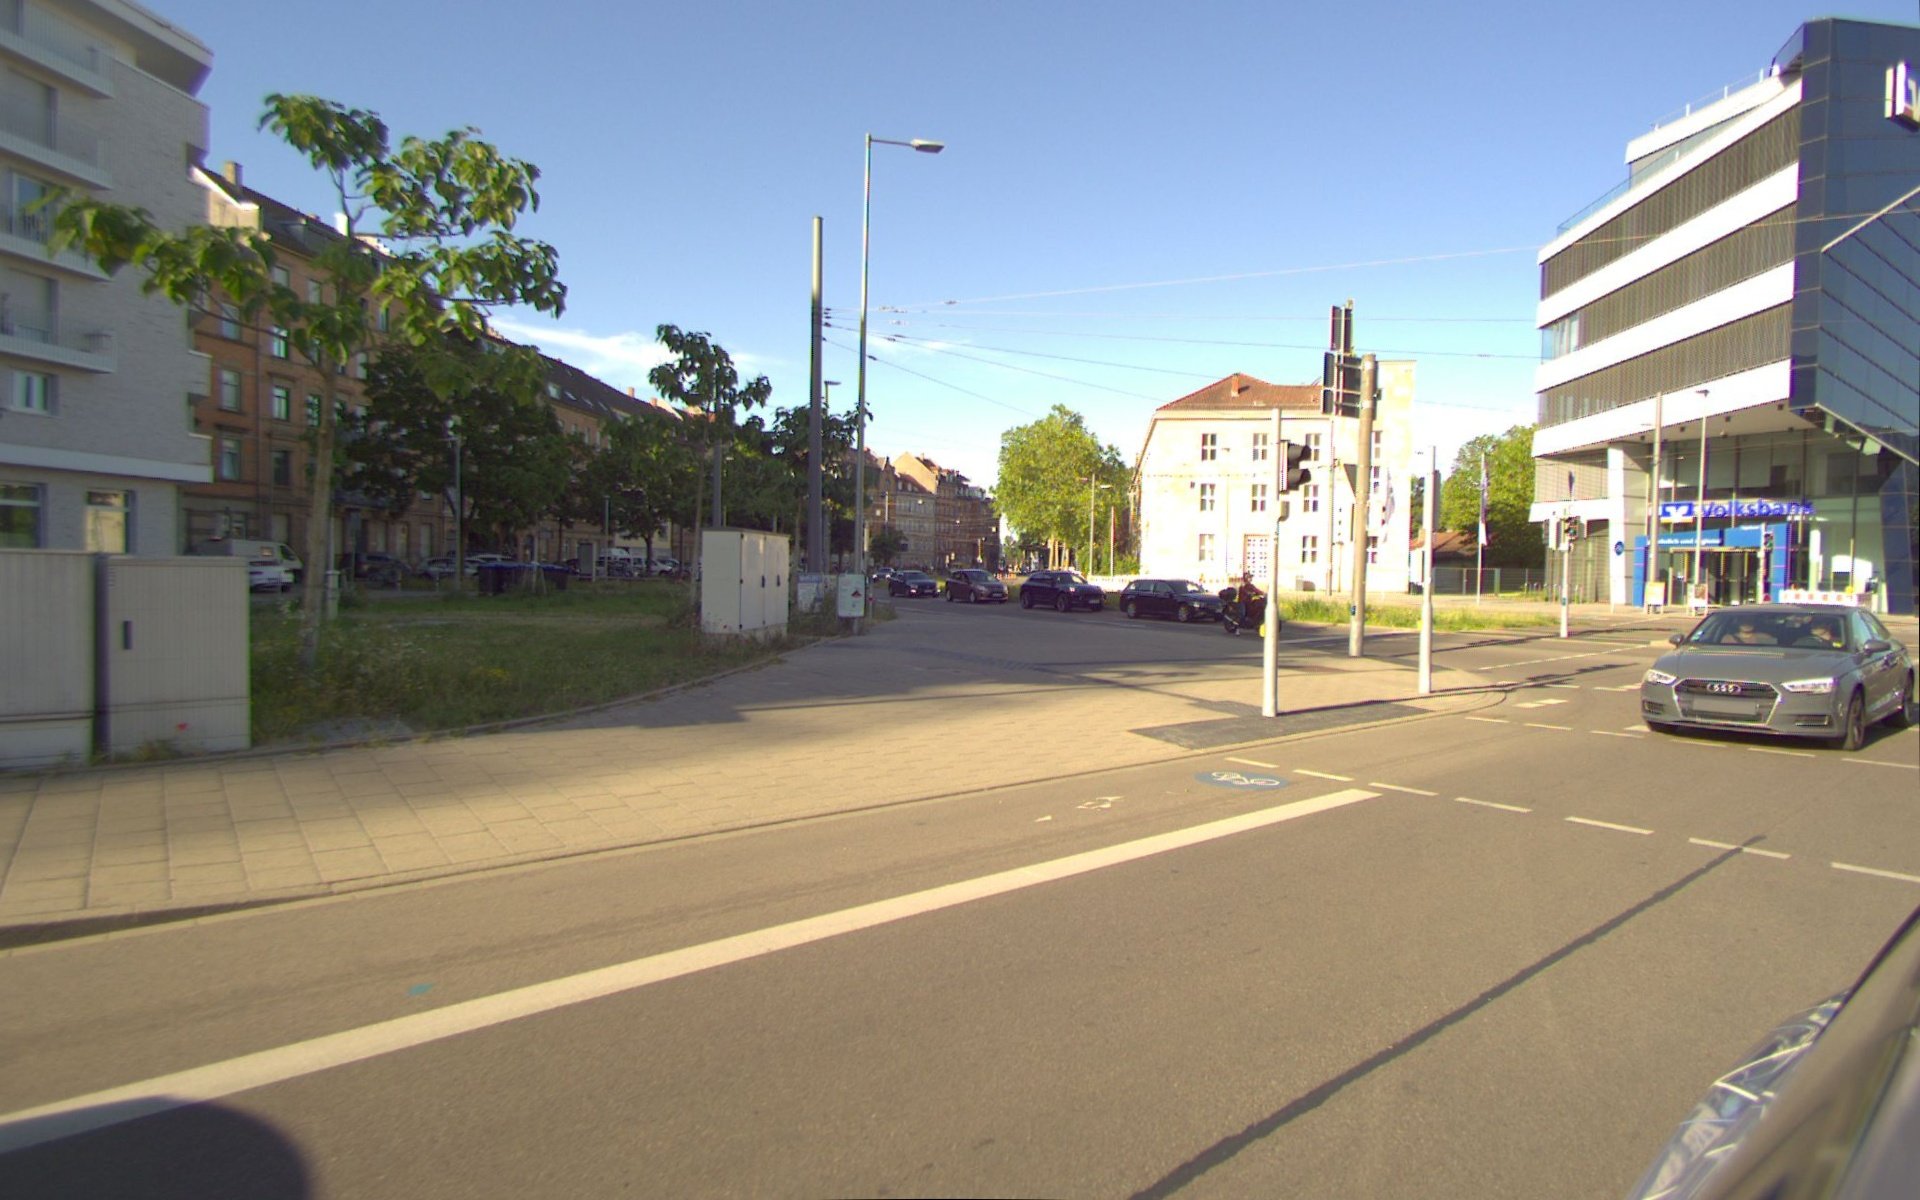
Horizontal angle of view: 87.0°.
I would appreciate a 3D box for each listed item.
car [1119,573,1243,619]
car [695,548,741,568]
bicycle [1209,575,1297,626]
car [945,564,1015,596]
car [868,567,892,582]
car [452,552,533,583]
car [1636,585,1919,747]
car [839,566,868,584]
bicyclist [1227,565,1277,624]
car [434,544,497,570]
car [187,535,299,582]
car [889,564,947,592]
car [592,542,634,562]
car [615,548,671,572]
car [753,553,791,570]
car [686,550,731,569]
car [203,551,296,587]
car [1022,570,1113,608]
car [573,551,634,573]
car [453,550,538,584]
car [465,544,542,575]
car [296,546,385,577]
[{"bbox_3d":[7.583,-0.192,35.163,1.959,1.439,4.303,0,2,-26],"label":"car"},{"bbox_3d":[-22.447,-3.901,93.873,3.917,1.738,2.004,0,2,-24],"label":"car"},{"bbox_3d":[8.275,-0.021,28.691,0.933,1.328,2.374,0,2,-32],"label":"bicycle"},{"bbox_3d":[0.933,-0.982,48.993,1.958,1.439,4.009,0,2,-22],"label":"car"},{"bbox_3d":[-7.839,-2.558,99.257,1.899,1.393,3.999,1,2,2],"label":"car"},{"bbox_3d":[-26.454,-1.834,57.236,3.922,1.738,2.002,-1,2,-33],"label":"car"},{"bbox_3d":[9.182,0.579,11.078,4.034,1.459,1.715,-1,1,-36],"label":"car"},{"bbox_3d":[-7.751,-1.839,73.660,1.960,1.259,4.005,1,2,-4],"label":"car"},{"bbox_3d":[8.281,-0.183,28.709,0.862,1.627,1.009,0,2,-32],"label":"bicyclist"},{"bbox_3d":[-34.269,-2.998,70.238,1.966,1.738,4.254,1,2,8],"label":"car"},{"bbox_3d":[-36.264,-2.095,51.328,1.968,2.238,4.582,1,2,10],"label":"car"},{"bbox_3d":[-2.384,-1.247,55.950,1.958,1.439,4.537,0,2,-19],"label":"car"},{"bbox_3d":[-31.746,-4.366,92.597,1.966,1.738,4.254,1,2,8],"label":"car"},{"bbox_3d":[-24.591,-3.102,78.462,3.917,1.738,2.004,0,2,-25],"label":"car"},{"bbox_3d":[-21.182,-4.322,114.008,3.916,1.838,2.004,0,2,-23],"label":"car"},{"bbox_3d":[-23.967,-3.855,96.425,4.172,1.738,2.005,0,2,-15],"label":"car"},{"bbox_3d":[-29.197,-1.290,41.563,3.977,1.415,1.974,2,2,36],"label":"car"},{"bbox_3d":[4.397,-0.493,42.036,1.959,1.439,4.008,0,2,-26],"label":"car"},{"bbox_3d":[-25.511,-2.743,72.430,3.917,1.504,2.004,0,2,-25],"label":"car"},{"bbox_3d":[-25.013,-1.782,54.539,3.922,1.738,2.002,-1,2,-33],"label":"car"},{"bbox_3d":[-27.012,-2.374,59.916,3.922,1.738,2.002,-1,2,-33],"label":"car"},{"bbox_3d":[-36.321,-2.284,59.386,4.191,1.738,1.996,1,2,8],"label":"car"}]
